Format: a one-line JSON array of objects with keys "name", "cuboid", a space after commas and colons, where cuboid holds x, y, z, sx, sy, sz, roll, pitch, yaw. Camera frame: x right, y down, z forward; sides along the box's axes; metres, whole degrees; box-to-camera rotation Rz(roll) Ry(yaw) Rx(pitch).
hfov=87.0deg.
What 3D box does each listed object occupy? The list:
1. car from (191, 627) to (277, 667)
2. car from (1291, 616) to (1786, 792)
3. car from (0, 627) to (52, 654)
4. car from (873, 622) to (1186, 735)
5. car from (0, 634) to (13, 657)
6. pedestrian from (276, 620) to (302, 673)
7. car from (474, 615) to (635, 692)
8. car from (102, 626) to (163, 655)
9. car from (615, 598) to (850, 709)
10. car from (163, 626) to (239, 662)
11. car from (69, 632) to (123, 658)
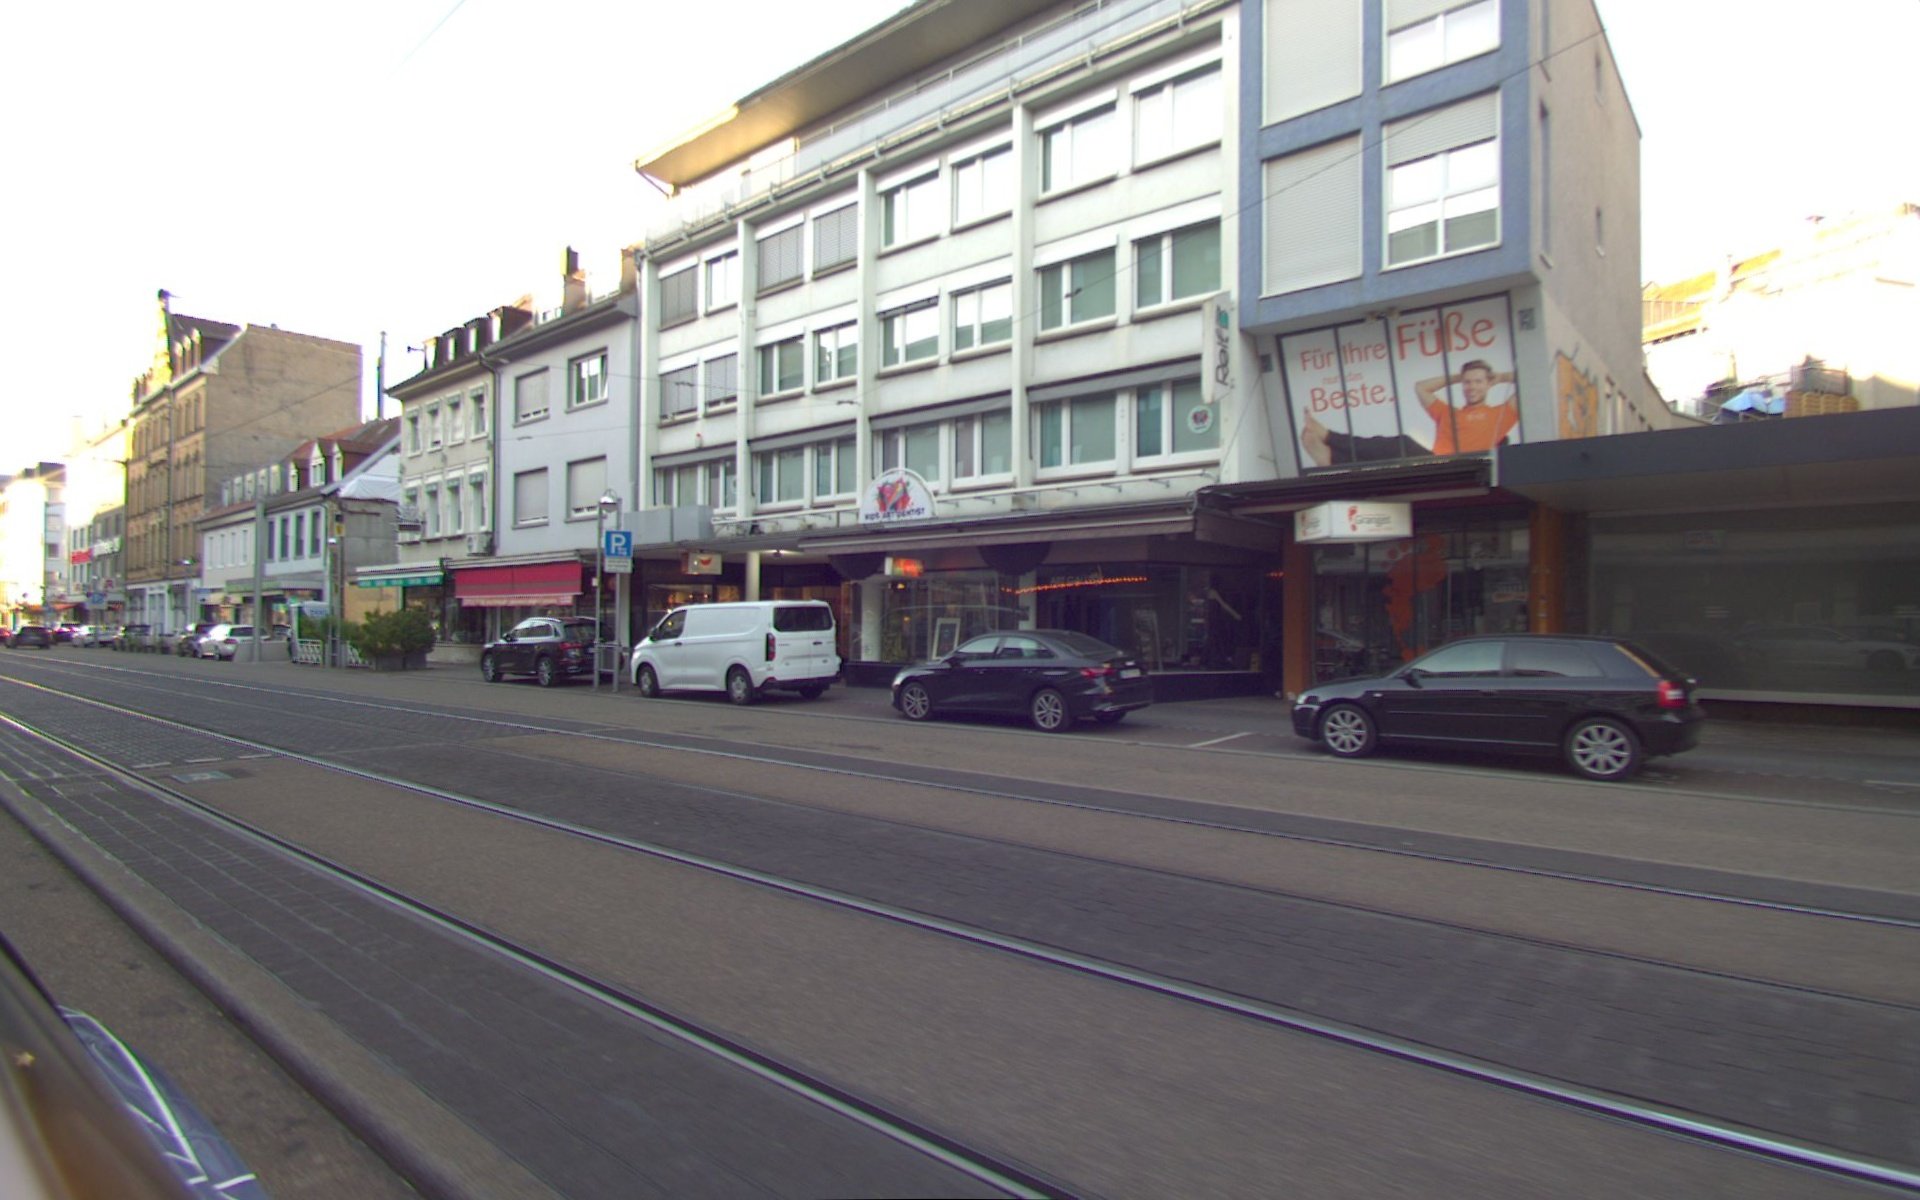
[{"name": "car", "cuboid": [-30.962, 1.966, 43.098, 4.876, 1.556, 1.972, -2, -1, 42]}, {"name": "car", "cuboid": [6.102, 0.971, 11.023, 4.443, 1.523, 1.668, -1, -1, 41]}, {"name": "car", "cuboid": [-55.780, 2.401, 60.304, 3.997, 1.564, 1.973, -2, -2, 41]}, {"name": "car", "cuboid": [0.959, 1.103, 15.666, 4.554, 1.477, 1.973, -1, -1, 40]}, {"name": "car", "cuboid": [-68.650, 3.201, 71.585, 3.997, 1.564, 1.973, -2, -2, 41]}, {"name": "pedestrian", "cuboid": [-26.021, 1.783, 39.239, 0.811, 2.029, 0.714, 1, -2, -34]}, {"name": "car", "cuboid": [-10.278, 1.280, 25.493, 4.524, 1.734, 1.839, -1, -1, 40]}, {"name": "car", "cuboid": [-46.262, 2.250, 56.558, 3.997, 1.564, 1.973, -2, -2, 41]}, {"name": "car", "cuboid": [-4.724, 1.025, 20.580, 5.158, 1.992, 1.935, -1, -2, 40]}, {"name": "car", "cuboid": [-34.977, 2.000, 46.597, 4.550, 1.556, 1.889, -2, -2, 41]}, {"name": "car", "cuboid": [-55.261, 2.844, 64.727, 4.204, 1.564, 1.973, -2, -2, 41]}]
